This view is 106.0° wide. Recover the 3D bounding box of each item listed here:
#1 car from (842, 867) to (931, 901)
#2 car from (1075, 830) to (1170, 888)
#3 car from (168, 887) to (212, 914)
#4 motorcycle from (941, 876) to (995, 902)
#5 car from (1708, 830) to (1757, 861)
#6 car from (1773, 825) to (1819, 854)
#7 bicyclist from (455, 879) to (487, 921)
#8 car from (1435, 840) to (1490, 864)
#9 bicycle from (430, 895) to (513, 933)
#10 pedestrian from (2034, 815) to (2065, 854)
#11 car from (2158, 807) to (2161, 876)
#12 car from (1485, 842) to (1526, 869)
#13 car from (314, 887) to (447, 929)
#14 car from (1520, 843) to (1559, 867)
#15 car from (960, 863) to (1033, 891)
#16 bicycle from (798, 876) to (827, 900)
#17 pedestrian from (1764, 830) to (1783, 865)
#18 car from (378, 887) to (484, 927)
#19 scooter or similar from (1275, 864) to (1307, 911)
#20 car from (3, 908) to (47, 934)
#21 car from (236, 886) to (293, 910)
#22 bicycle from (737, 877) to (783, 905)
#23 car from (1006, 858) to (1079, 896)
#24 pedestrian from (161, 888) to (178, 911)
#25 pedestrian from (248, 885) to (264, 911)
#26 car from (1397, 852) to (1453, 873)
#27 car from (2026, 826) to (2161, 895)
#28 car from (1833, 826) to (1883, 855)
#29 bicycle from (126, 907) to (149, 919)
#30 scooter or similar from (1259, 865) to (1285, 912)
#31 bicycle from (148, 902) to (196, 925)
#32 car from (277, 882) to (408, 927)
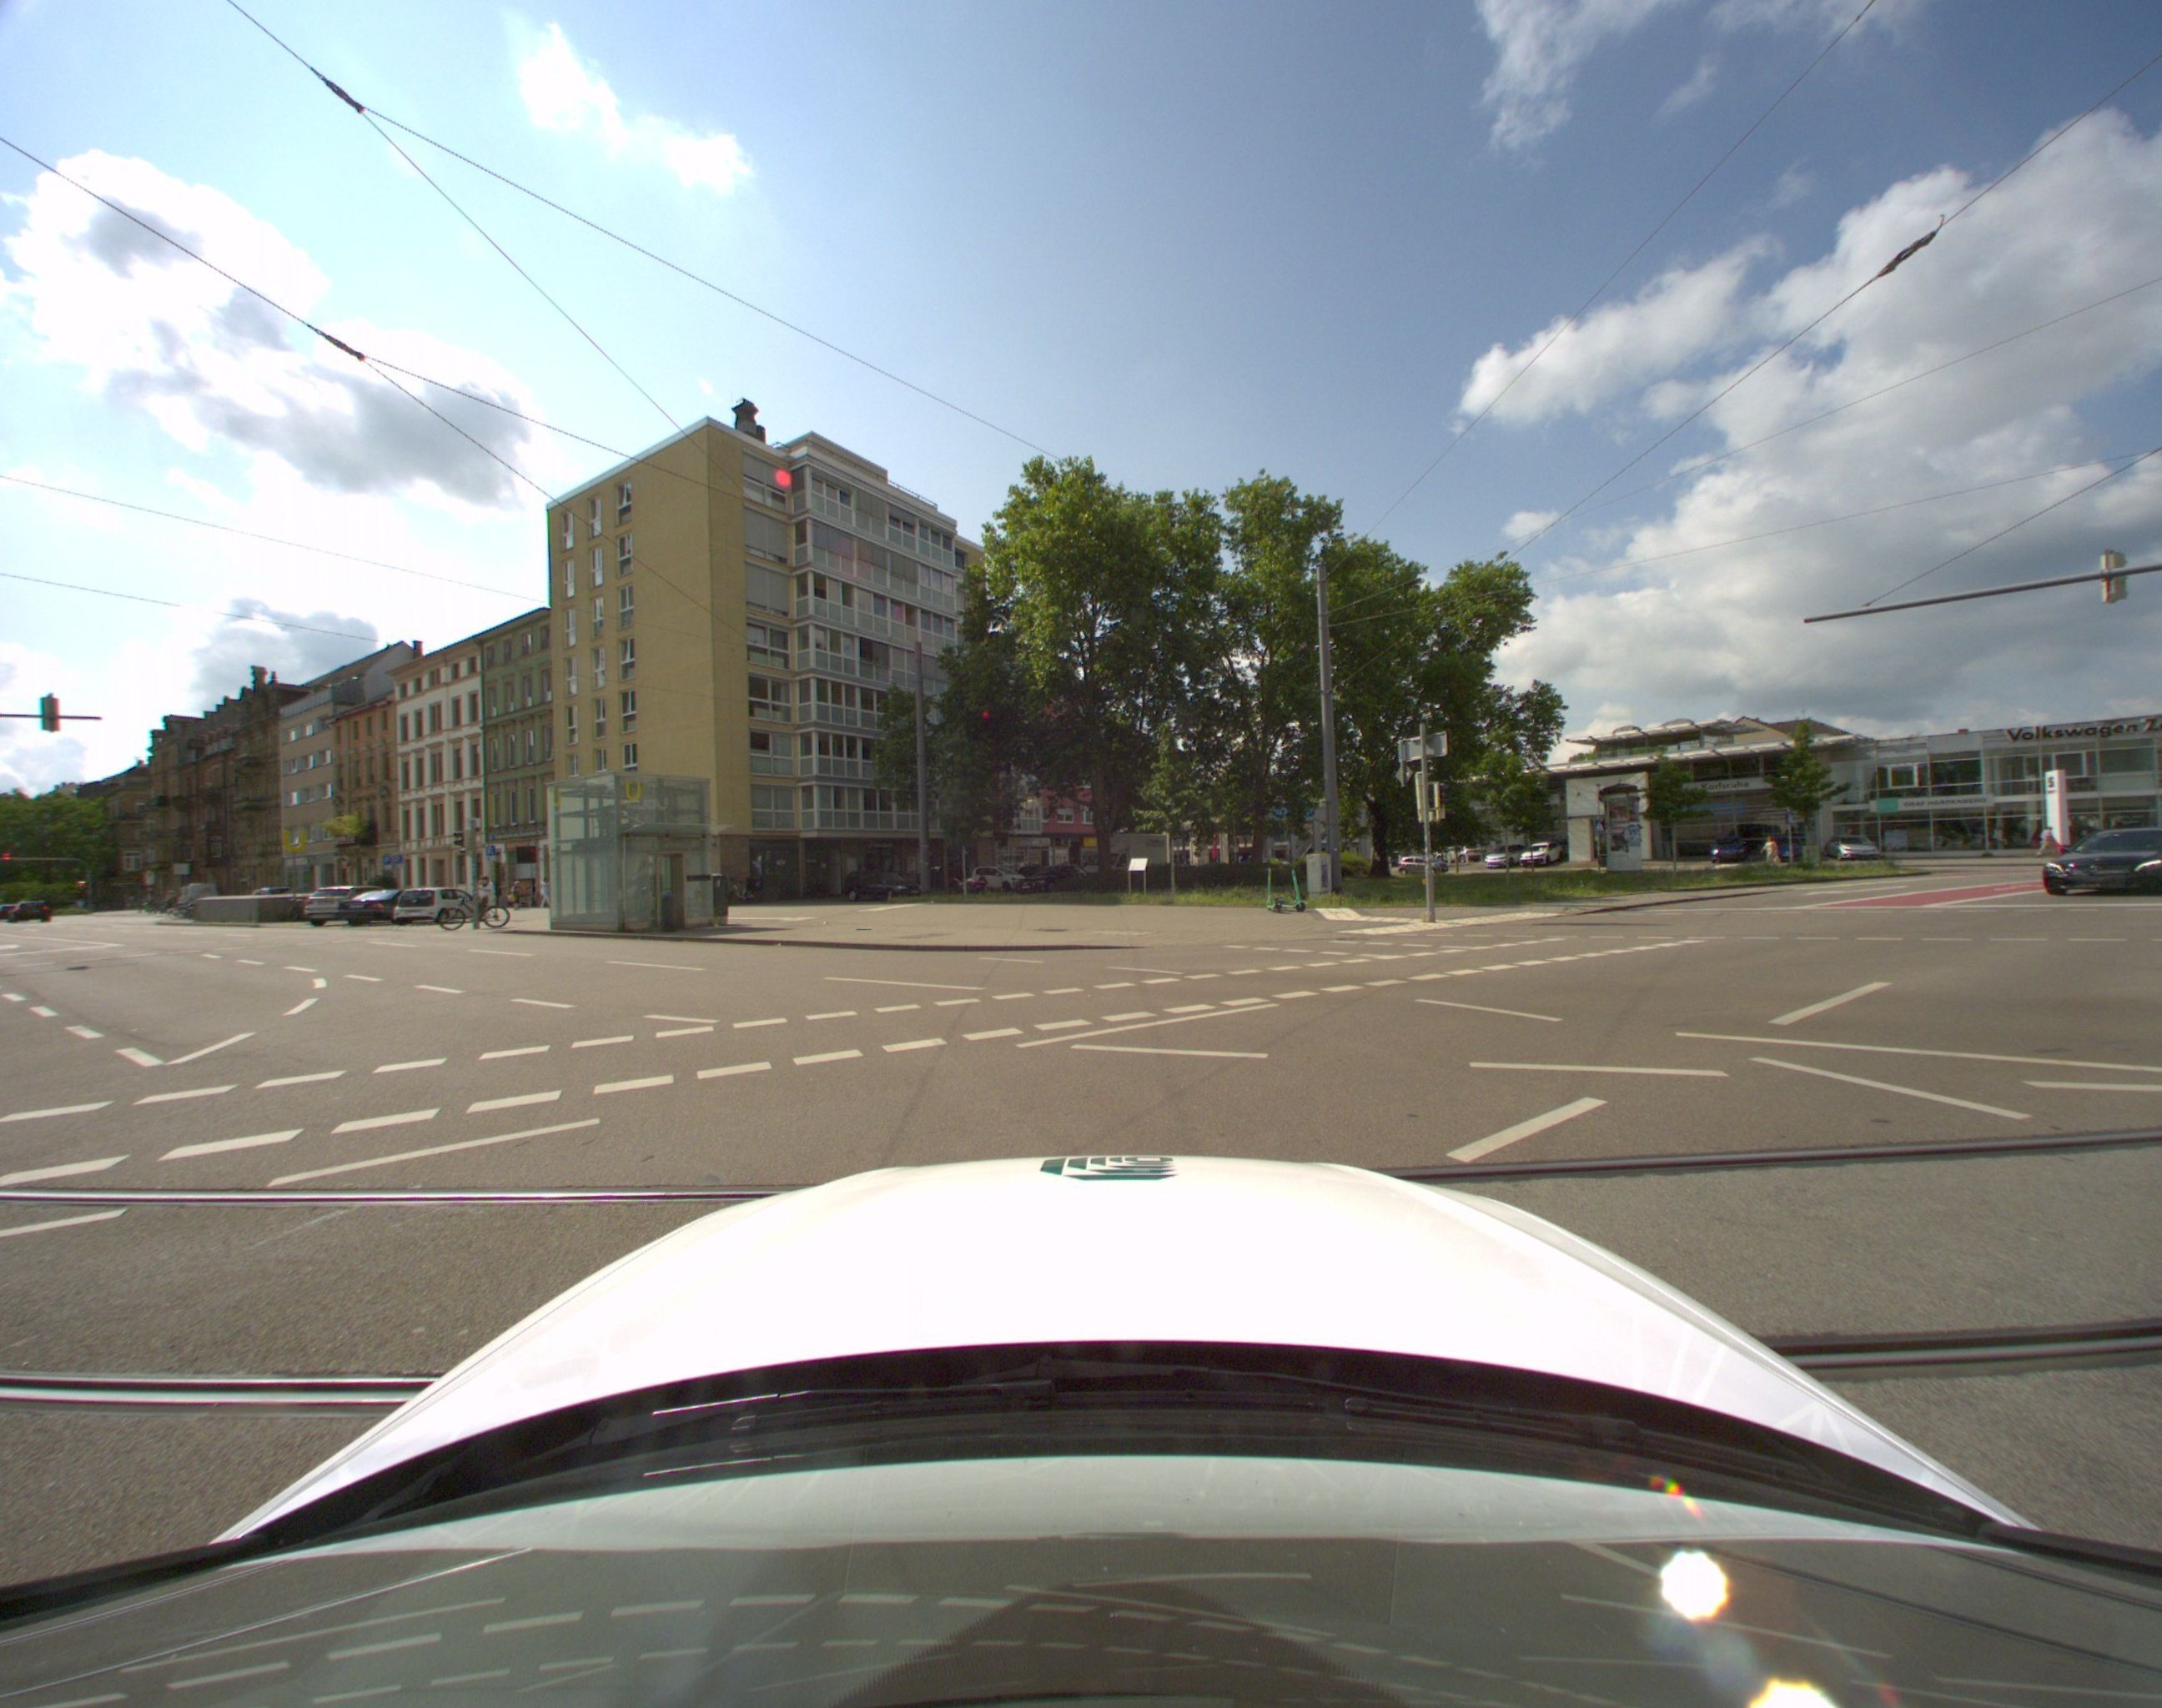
[{"bbox_3d":[-9.444,1.477,39.478,4.042,1.514,1.820,-2,-1,32],"label":"car"},{"bbox_3d":[2.576,0.254,47.307,1.974,3.043,7.295,-3,-1,33],"label":"car"},{"bbox_3d":[-88.325,4.618,80.709,5.812,2.525,2.013,-3,-1,33],"label":"car"},{"bbox_3d":[-4.963,1.538,35.829,2.286,1.030,0.972,-2,-2,-9],"label":"motorcycle"},{"bbox_3d":[41.990,-0.557,52.427,1.975,1.838,4.023,-4,-2,45],"label":"car"},{"bbox_3d":[43.617,-0.856,49.673,1.975,1.725,4.024,0,0,43],"label":"car"},{"bbox_3d":[-19.954,1.503,26.630,0.786,1.336,0.391,0,0,-30],"label":"bicyclist"},{"bbox_3d":[34.046,-0.192,72.789,2.009,2.013,3.957,-1,0,-36],"label":"car"},{"bbox_3d":[-19.901,1.955,26.642,2.107,1.106,0.539,-1,0,-31],"label":"bicycle"},{"bbox_3d":[50.474,-1.014,42.439,0.860,2.013,0.708,-3,-1,41],"label":"pedestrian"},{"bbox_3d":[30.791,-0.336,21.391,4.001,1.838,1.986,0,0,-20],"label":"car"},{"bbox_3d":[33.085,0.077,63.427,1.975,2.013,4.025,1,1,41],"label":"car"},{"bbox_3d":[-29.111,2.200,34.080,1.930,1.460,4.589,-2,-1,-6],"label":"car"},{"bbox_3d":[34.942,0.039,62.036,1.768,1.682,4.025,-2,0,41],"label":"car"},{"bbox_3d":[-5.054,1.338,48.525,4.043,1.514,1.820,0,0,32],"label":"car"},{"bbox_3d":[-13.775,1.728,41.785,0.586,1.129,1.356,0,0,36],"label":"bicycle"},{"bbox_3d":[39.991,-0.356,47.026,0.800,2.013,0.813,0,0,43],"label":"pedestrian"},{"bbox_3d":[-26.399,2.109,33.212,1.772,1.453,3.487,-2,-2,-7],"label":"car"},{"bbox_3d":[5.622,0.877,21.852,0.381,1.196,1.060,0,0,-14],"label":"scooter or similar"},{"bbox_3d":[-82.431,5.209,63.570,3.562,1.711,1.705,0,0,31],"label":"car"},{"bbox_3d":[-69.681,3.760,69.500,4.692,1.862,2.012,-3,-1,27],"label":"car"},{"bbox_3d":[-15.387,1.767,39.095,0.471,1.202,2.210,0,0,32],"label":"bicycle"},{"bbox_3d":[-1.899,1.131,41.328,1.975,1.706,4.023,-2,0,25],"label":"car"},{"bbox_3d":[-76.812,3.816,68.621,0.687,1.903,0.667,-3,-1,14],"label":"pedestrian"},{"bbox_3d":[-66.796,3.548,65.937,0.776,2.099,0.728,0,0,33],"label":"pedestrian"},{"bbox_3d":[26.534,0.646,62.818,1.682,1.487,3.639,-2,2,-40],"label":"car"},{"bbox_3d":[23.503,0.103,18.254,3.943,1.376,1.857,-2,0,-22],"label":"car"},{"bbox_3d":[46.677,-0.796,48.962,1.910,1.683,4.025,0,0,40],"label":"car"},{"bbox_3d":[-110.375,6.897,95.269,0.460,1.268,1.786,0,0,36],"label":"bicycle"},{"bbox_3d":[5.094,0.894,21.724,0.379,1.196,1.063,0,0,-4],"label":"scooter or similar"},{"bbox_3d":[-55.606,3.632,49.836,0.436,1.237,1.940,0,0,20],"label":"bicycle"},{"bbox_3d":[-32.390,2.164,35.938,2.055,1.647,4.581,-2,0,-9],"label":"car"}]
